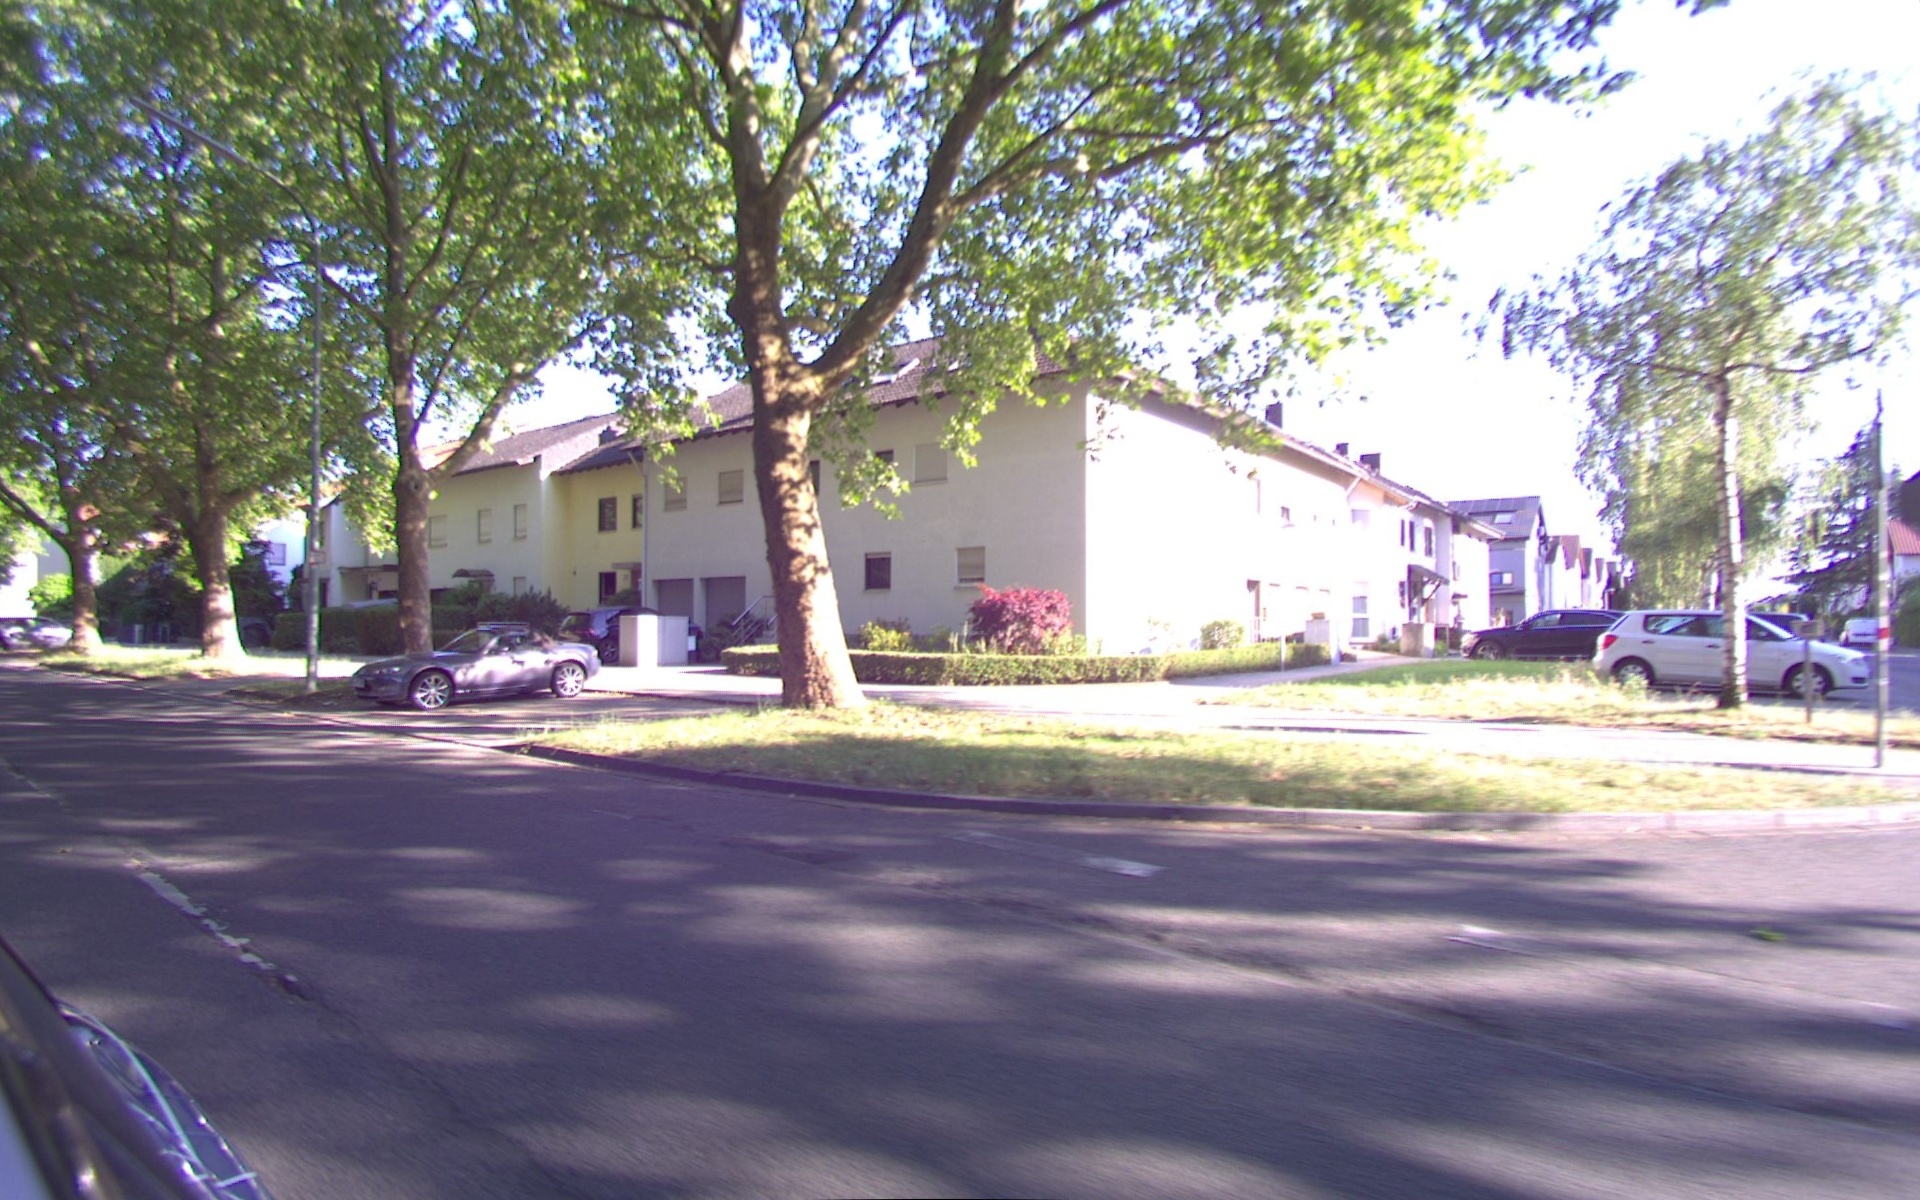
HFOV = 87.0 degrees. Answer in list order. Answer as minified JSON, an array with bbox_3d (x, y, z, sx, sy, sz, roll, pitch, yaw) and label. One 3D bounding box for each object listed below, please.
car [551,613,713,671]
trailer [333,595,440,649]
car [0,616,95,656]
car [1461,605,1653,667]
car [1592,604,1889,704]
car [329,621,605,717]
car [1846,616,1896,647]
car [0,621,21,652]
[{"bbox_3d":[-9.106,1.116,28.340,1.899,1.475,3.947,0,-1,39],"label":"car"},{"bbox_3d":[-24.065,0.902,42.544,1.640,1.940,3.422,-3,1,37],"label":"trailer"},{"bbox_3d":[-38.024,1.450,41.250,1.814,1.530,3.951,-1,-1,37],"label":"car"},{"bbox_3d":[16.666,0.965,28.329,4.456,1.586,1.975,-1,-1,37],"label":"car"},{"bbox_3d":[13.738,0.887,18.069,3.994,1.586,1.975,-1,-1,38],"label":"car"},{"bbox_3d":[-8.155,1.065,17.005,1.788,1.326,3.788,-1,0,38],"label":"car"},{"bbox_3d":[54.628,1.862,60.740,1.998,1.752,3.947,-1,-1,39],"label":"car"},{"bbox_3d":[-49.003,1.834,49.773,1.660,1.530,3.839,-1,-1,34],"label":"car"}]
